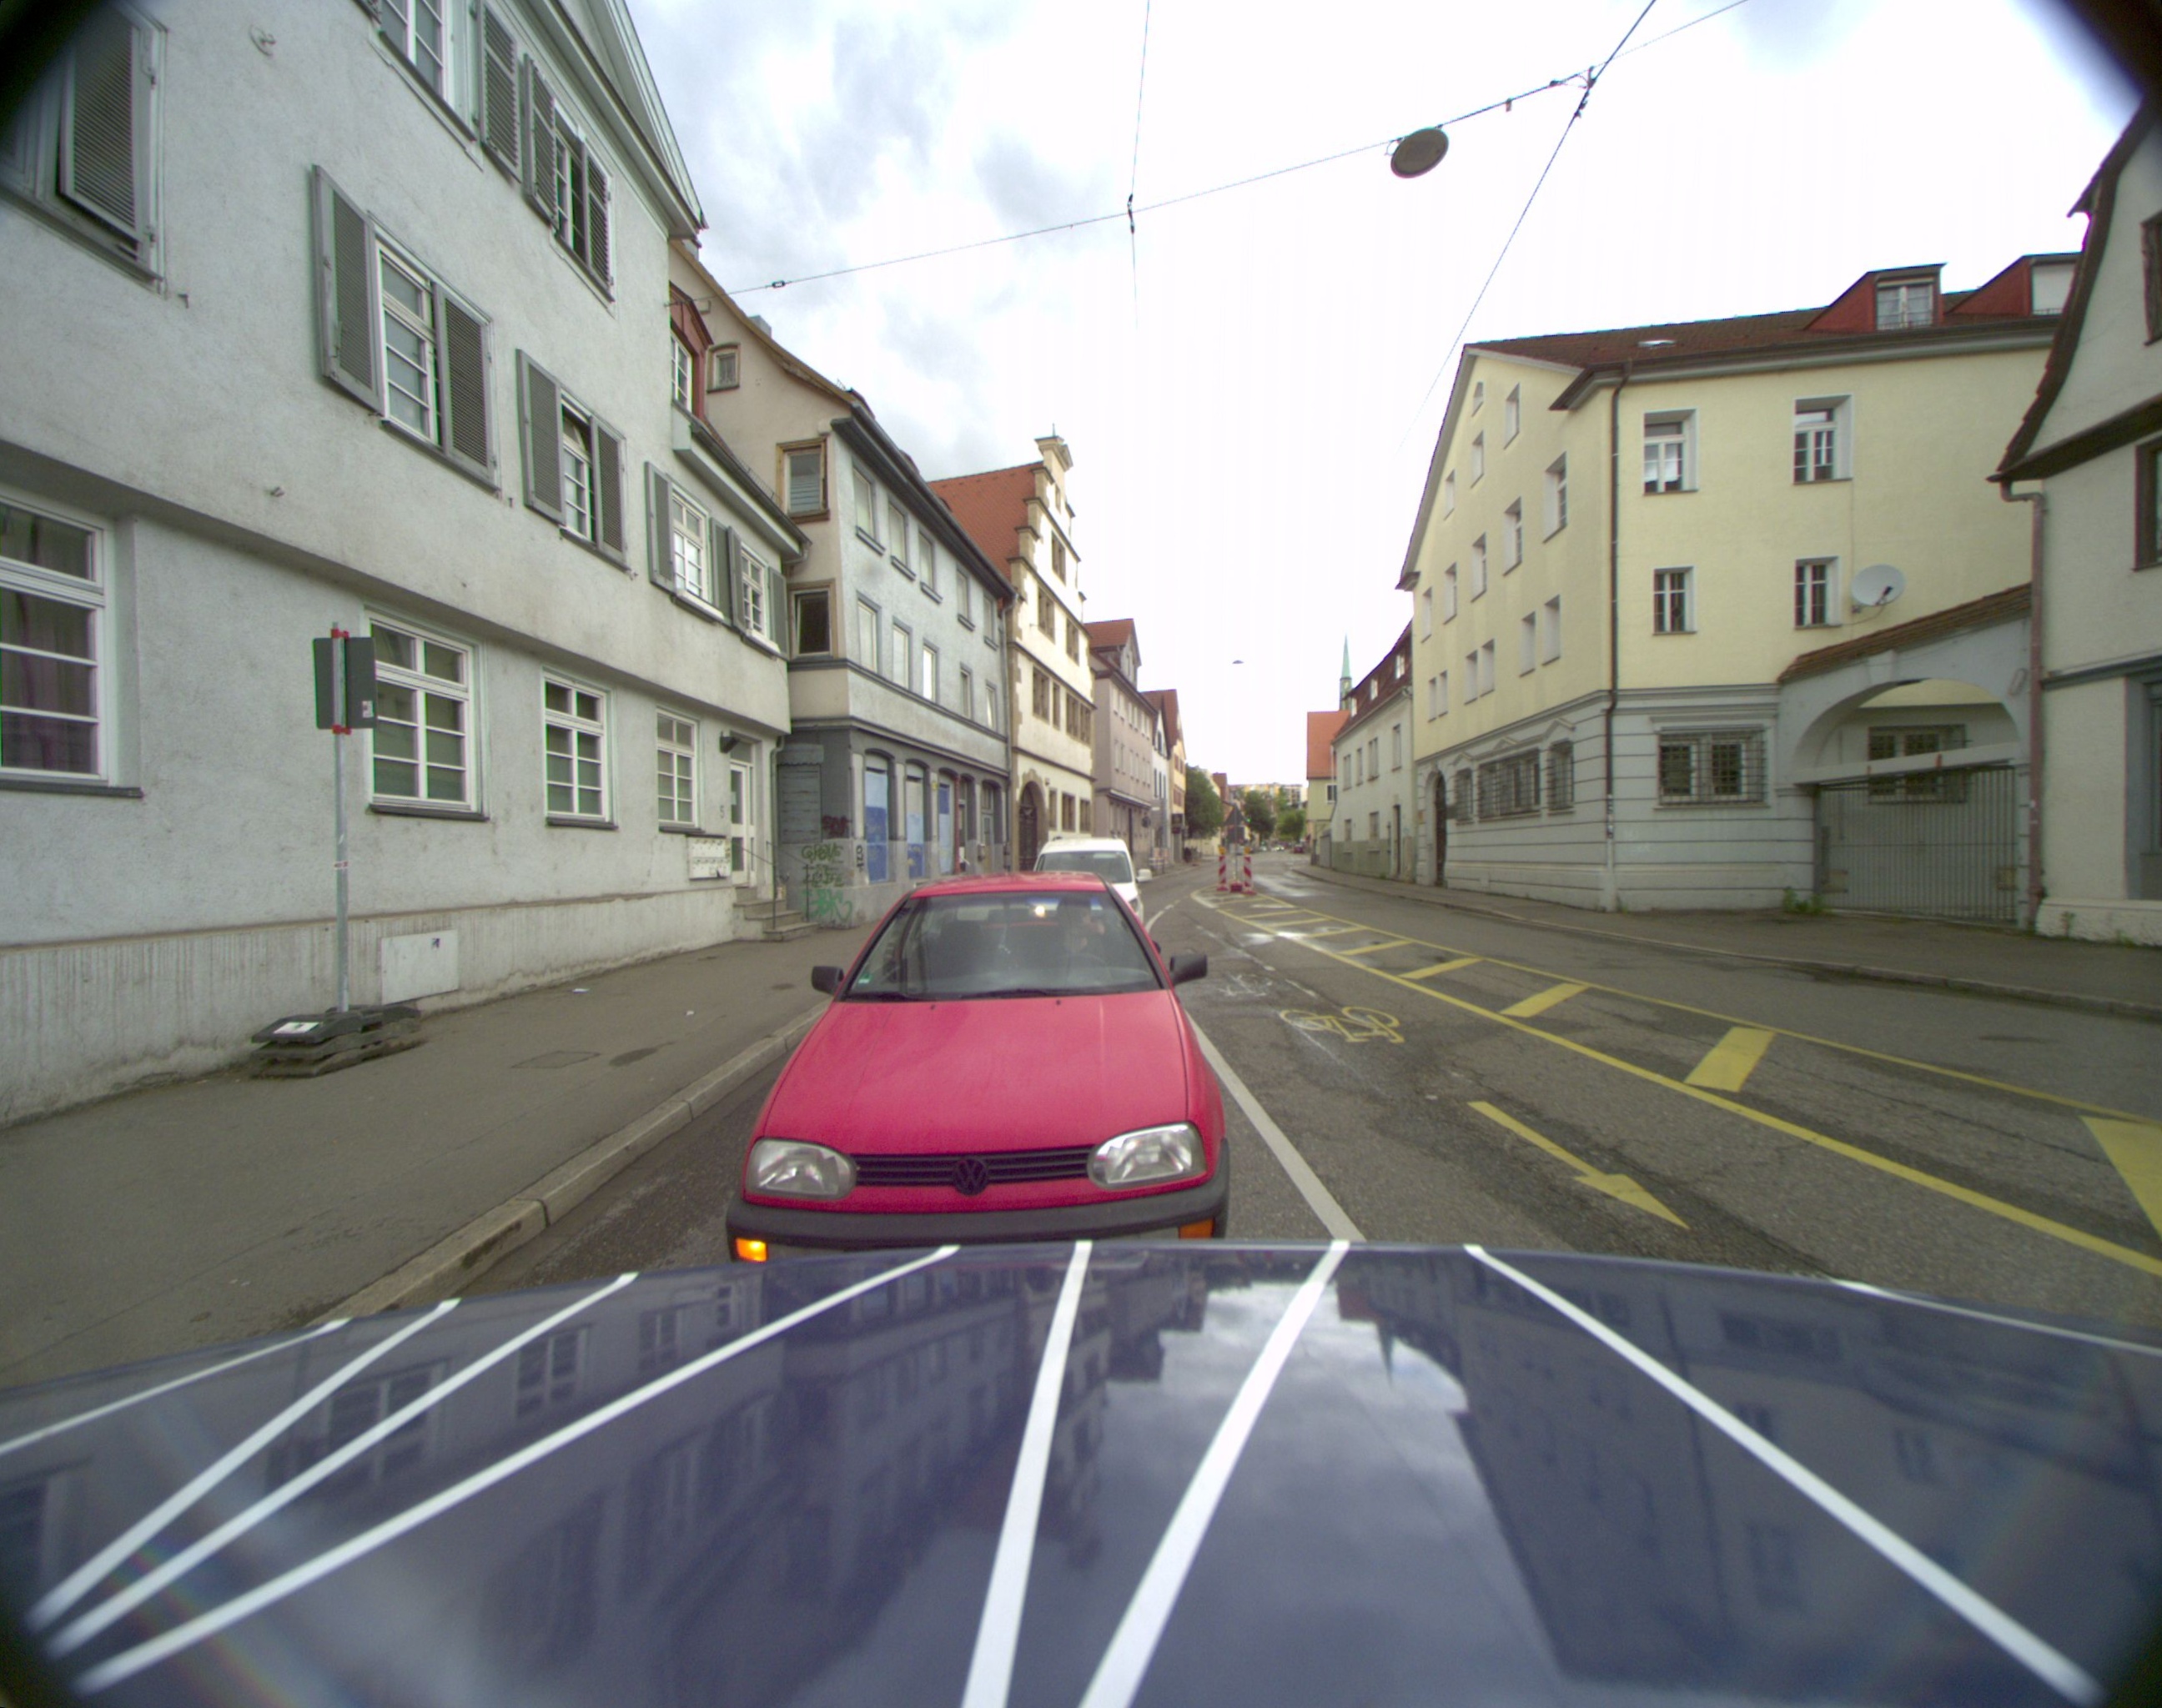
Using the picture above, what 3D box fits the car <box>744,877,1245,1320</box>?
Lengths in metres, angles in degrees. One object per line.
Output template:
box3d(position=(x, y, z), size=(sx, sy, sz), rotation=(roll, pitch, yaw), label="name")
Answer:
box3d(position=(-0.300, 0.989, 4.870), size=(1.804, 1.458, 4.000), rotation=(-4, 0, 1), label="car")

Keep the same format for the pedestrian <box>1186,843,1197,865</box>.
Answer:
box3d(position=(9.771, -0.002, 67.061), size=(0.877, 1.888, 0.898), rotation=(-1, 0, 14), label="pedestrian")

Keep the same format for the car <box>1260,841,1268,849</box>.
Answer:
box3d(position=(44.966, -2.149, 186.809), size=(1.996, 2.002, 4.004), rotation=(-1, 0, 13), label="car")

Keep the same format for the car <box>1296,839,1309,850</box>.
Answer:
box3d(position=(42.734, -1.770, 146.578), size=(2.057, 2.002, 4.004), rotation=(-1, 0, 13), label="car")

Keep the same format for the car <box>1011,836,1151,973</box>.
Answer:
box3d(position=(0.031, 0.672, 12.147), size=(1.804, 1.781, 4.349), rotation=(-1, 0, 1), label="car")

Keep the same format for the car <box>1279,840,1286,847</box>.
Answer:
box3d(position=(59.897, -3.001, 225.961), size=(1.996, 2.002, 4.004), rotation=(-1, 0, 13), label="car")

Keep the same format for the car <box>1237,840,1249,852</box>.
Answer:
box3d(position=(28.462, -1.337, 133.499), size=(1.996, 2.002, 4.004), rotation=(-1, 0, 13), label="car")

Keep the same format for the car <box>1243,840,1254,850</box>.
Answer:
box3d(position=(33.997, -1.749, 154.273), size=(1.996, 2.002, 4.004), rotation=(-1, 0, 13), label="car")

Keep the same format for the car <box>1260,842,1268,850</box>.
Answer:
box3d(position=(48.424, -2.099, 201.003), size=(1.996, 2.002, 4.004), rotation=(-1, 0, 13), label="car")
